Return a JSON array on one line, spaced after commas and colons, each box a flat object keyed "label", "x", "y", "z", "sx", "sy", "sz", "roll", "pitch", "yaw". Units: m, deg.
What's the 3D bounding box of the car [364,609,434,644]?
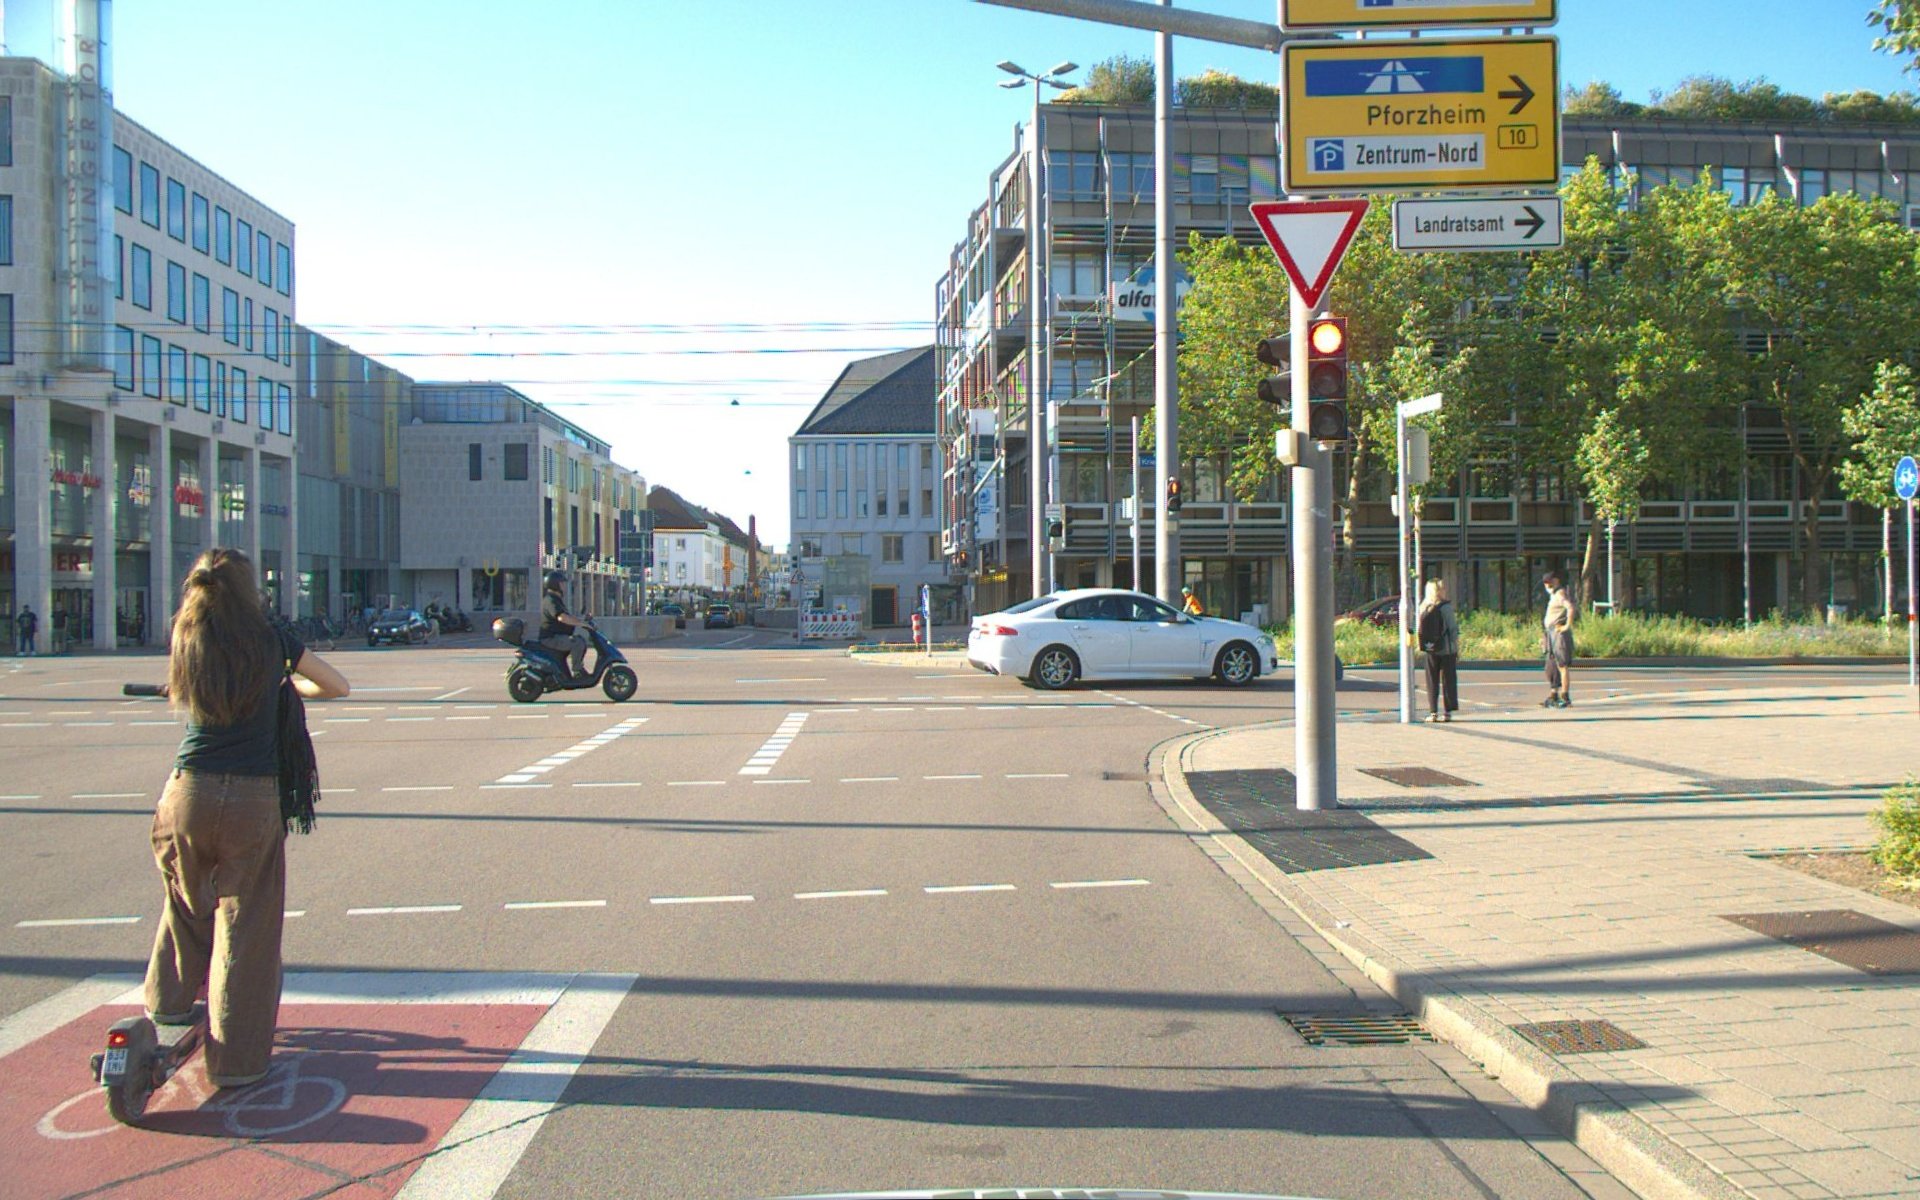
[{"label": "car", "x": -23.513, "y": 1.084, "z": 69.428, "sx": 1.642, "sy": 1.381, "sz": 4.019, "roll": -1, "pitch": 0, "yaw": -2}]

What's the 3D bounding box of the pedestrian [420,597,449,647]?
[{"label": "pedestrian", "x": -20.155, "y": 0.838, "z": 63.417, "sx": 0.923, "sy": 1.897, "sz": 0.539, "roll": -1, "pitch": 0, "yaw": 16}]

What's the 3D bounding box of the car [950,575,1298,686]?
[{"label": "car", "x": 2.494, "y": 0.431, "z": 25.585, "sx": 4.994, "sy": 1.592, "sz": 1.994, "roll": -1, "pitch": 0, "yaw": -13}]

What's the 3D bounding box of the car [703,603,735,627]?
[{"label": "car", "x": -15.698, "y": 0.960, "z": 107.825, "sx": 1.625, "sy": 1.484, "sz": 3.541, "roll": -1, "pitch": 0, "yaw": -1}]

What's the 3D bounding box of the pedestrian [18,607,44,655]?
[{"label": "pedestrian", "x": -32.872, "y": 1.103, "z": 58.533, "sx": 0.580, "sy": 1.674, "sz": 0.629, "roll": -1, "pitch": 0, "yaw": -1}]

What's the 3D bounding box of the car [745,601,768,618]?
[{"label": "car", "x": -17.900, "y": 0.824, "z": 145.589, "sx": 1.625, "sy": 1.484, "sz": 3.541, "roll": -1, "pitch": 0, "yaw": -1}]

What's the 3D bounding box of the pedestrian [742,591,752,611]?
[{"label": "pedestrian", "x": -21.154, "y": 0.128, "z": 164.362, "sx": 0.892, "sy": 1.999, "sz": 0.822, "roll": 1, "pitch": -1, "yaw": -1}]

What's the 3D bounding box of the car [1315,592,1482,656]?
[{"label": "car", "x": 12.329, "y": 0.648, "z": 46.595, "sx": 4.212, "sy": 1.713, "sz": 1.820, "roll": -1, "pitch": 0, "yaw": -11}]

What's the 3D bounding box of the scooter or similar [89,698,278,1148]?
[{"label": "scooter or similar", "x": -2.223, "y": 0.876, "z": 4.791, "sx": 0.301, "sy": 1.127, "sz": 0.836, "roll": -1, "pitch": 0, "yaw": -12}]

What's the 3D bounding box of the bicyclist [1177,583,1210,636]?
[{"label": "bicyclist", "x": 6.673, "y": 0.277, "z": 47.225, "sx": 0.806, "sy": 1.500, "sz": 0.652, "roll": -1, "pitch": 0, "yaw": -5}]

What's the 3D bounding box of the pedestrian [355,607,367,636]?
[{"label": "pedestrian", "x": -36.143, "y": 1.306, "z": 99.834, "sx": 0.462, "sy": 1.759, "sz": 0.518, "roll": 0, "pitch": -1, "yaw": 38}]

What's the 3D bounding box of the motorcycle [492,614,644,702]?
[{"label": "motorcycle", "x": -5.219, "y": 0.765, "z": 22.113, "sx": 1.918, "sy": 1.120, "sz": 0.648, "roll": -1, "pitch": 0, "yaw": -9}]

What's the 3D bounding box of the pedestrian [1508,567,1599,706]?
[{"label": "pedestrian", "x": 7.599, "y": 0.453, "z": 21.190, "sx": 0.854, "sy": 1.736, "sz": 0.768, "roll": -1, "pitch": 0, "yaw": -3}]

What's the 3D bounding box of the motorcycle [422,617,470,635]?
[{"label": "motorcycle", "x": -30.335, "y": 1.558, "z": 97.567, "sx": 2.555, "sy": 1.010, "sz": 1.113, "roll": 1, "pitch": 0, "yaw": -10}]

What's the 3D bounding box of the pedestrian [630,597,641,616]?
[{"label": "pedestrian", "x": -27.955, "y": 0.574, "z": 142.679, "sx": 0.668, "sy": 1.626, "sz": 0.839, "roll": -1, "pitch": 0, "yaw": 9}]

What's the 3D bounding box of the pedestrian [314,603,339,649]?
[{"label": "pedestrian", "x": -24.135, "y": 0.985, "z": 62.997, "sx": 0.685, "sy": 1.718, "sz": 0.619, "roll": -1, "pitch": 0, "yaw": 0}]

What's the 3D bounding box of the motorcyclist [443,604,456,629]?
[{"label": "motorcyclist", "x": -30.167, "y": 0.982, "z": 97.784, "sx": 0.616, "sy": 1.430, "sz": 0.661, "roll": 1, "pitch": -1, "yaw": -9}]

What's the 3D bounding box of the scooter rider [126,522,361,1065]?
[{"label": "scooter rider", "x": -2.152, "y": 0.552, "z": 5.012, "sx": 0.542, "sy": 1.556, "sz": 0.448, "roll": -1, "pitch": 0, "yaw": -9}]

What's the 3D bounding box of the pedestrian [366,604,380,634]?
[{"label": "pedestrian", "x": -35.369, "y": 1.154, "z": 99.667, "sx": 0.461, "sy": 1.759, "sz": 0.627, "roll": 1, "pitch": -1, "yaw": 28}]

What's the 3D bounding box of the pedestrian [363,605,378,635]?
[{"label": "pedestrian", "x": -34.710, "y": 1.156, "z": 97.352, "sx": 0.462, "sy": 1.759, "sz": 0.626, "roll": 1, "pitch": -1, "yaw": 33}]

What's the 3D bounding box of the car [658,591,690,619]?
[{"label": "car", "x": -17.860, "y": 0.279, "z": 103.393, "sx": 1.785, "sy": 1.713, "sz": 3.993, "roll": -1, "pitch": 0, "yaw": -7}]

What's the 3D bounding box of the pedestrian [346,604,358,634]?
[{"label": "pedestrian", "x": -36.224, "y": 1.135, "z": 98.528, "sx": 0.462, "sy": 1.759, "sz": 0.518, "roll": 0, "pitch": -1, "yaw": 38}]

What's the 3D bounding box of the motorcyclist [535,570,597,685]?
[{"label": "motorcyclist", "x": -5.264, "y": 0.358, "z": 22.112, "sx": 0.735, "sy": 1.505, "sz": 0.598, "roll": 0, "pitch": 0, "yaw": -9}]

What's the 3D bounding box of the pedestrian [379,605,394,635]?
[{"label": "pedestrian", "x": -34.014, "y": 1.171, "z": 98.064, "sx": 0.462, "sy": 1.759, "sz": 0.692, "roll": 0, "pitch": -1, "yaw": 37}]

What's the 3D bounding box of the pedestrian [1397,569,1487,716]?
[{"label": "pedestrian", "x": 5.533, "y": 0.480, "z": 19.016, "sx": 0.750, "sy": 1.642, "sz": 0.874, "roll": -1, "pitch": 0, "yaw": -2}]

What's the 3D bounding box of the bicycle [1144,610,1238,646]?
[{"label": "bicycle", "x": 6.582, "y": 0.795, "z": 47.209, "sx": 2.517, "sy": 0.992, "sz": 1.047, "roll": -1, "pitch": 0, "yaw": -4}]

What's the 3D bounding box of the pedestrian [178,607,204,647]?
[{"label": "pedestrian", "x": -32.306, "y": 1.131, "z": 69.485, "sx": 0.760, "sy": 1.667, "sz": 0.626, "roll": -1, "pitch": 0, "yaw": 11}]

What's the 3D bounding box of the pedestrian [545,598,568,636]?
[{"label": "pedestrian", "x": -19.382, "y": 0.819, "z": 79.455, "sx": 0.881, "sy": 1.814, "sz": 0.808, "roll": 0, "pitch": 0, "yaw": -1}]
